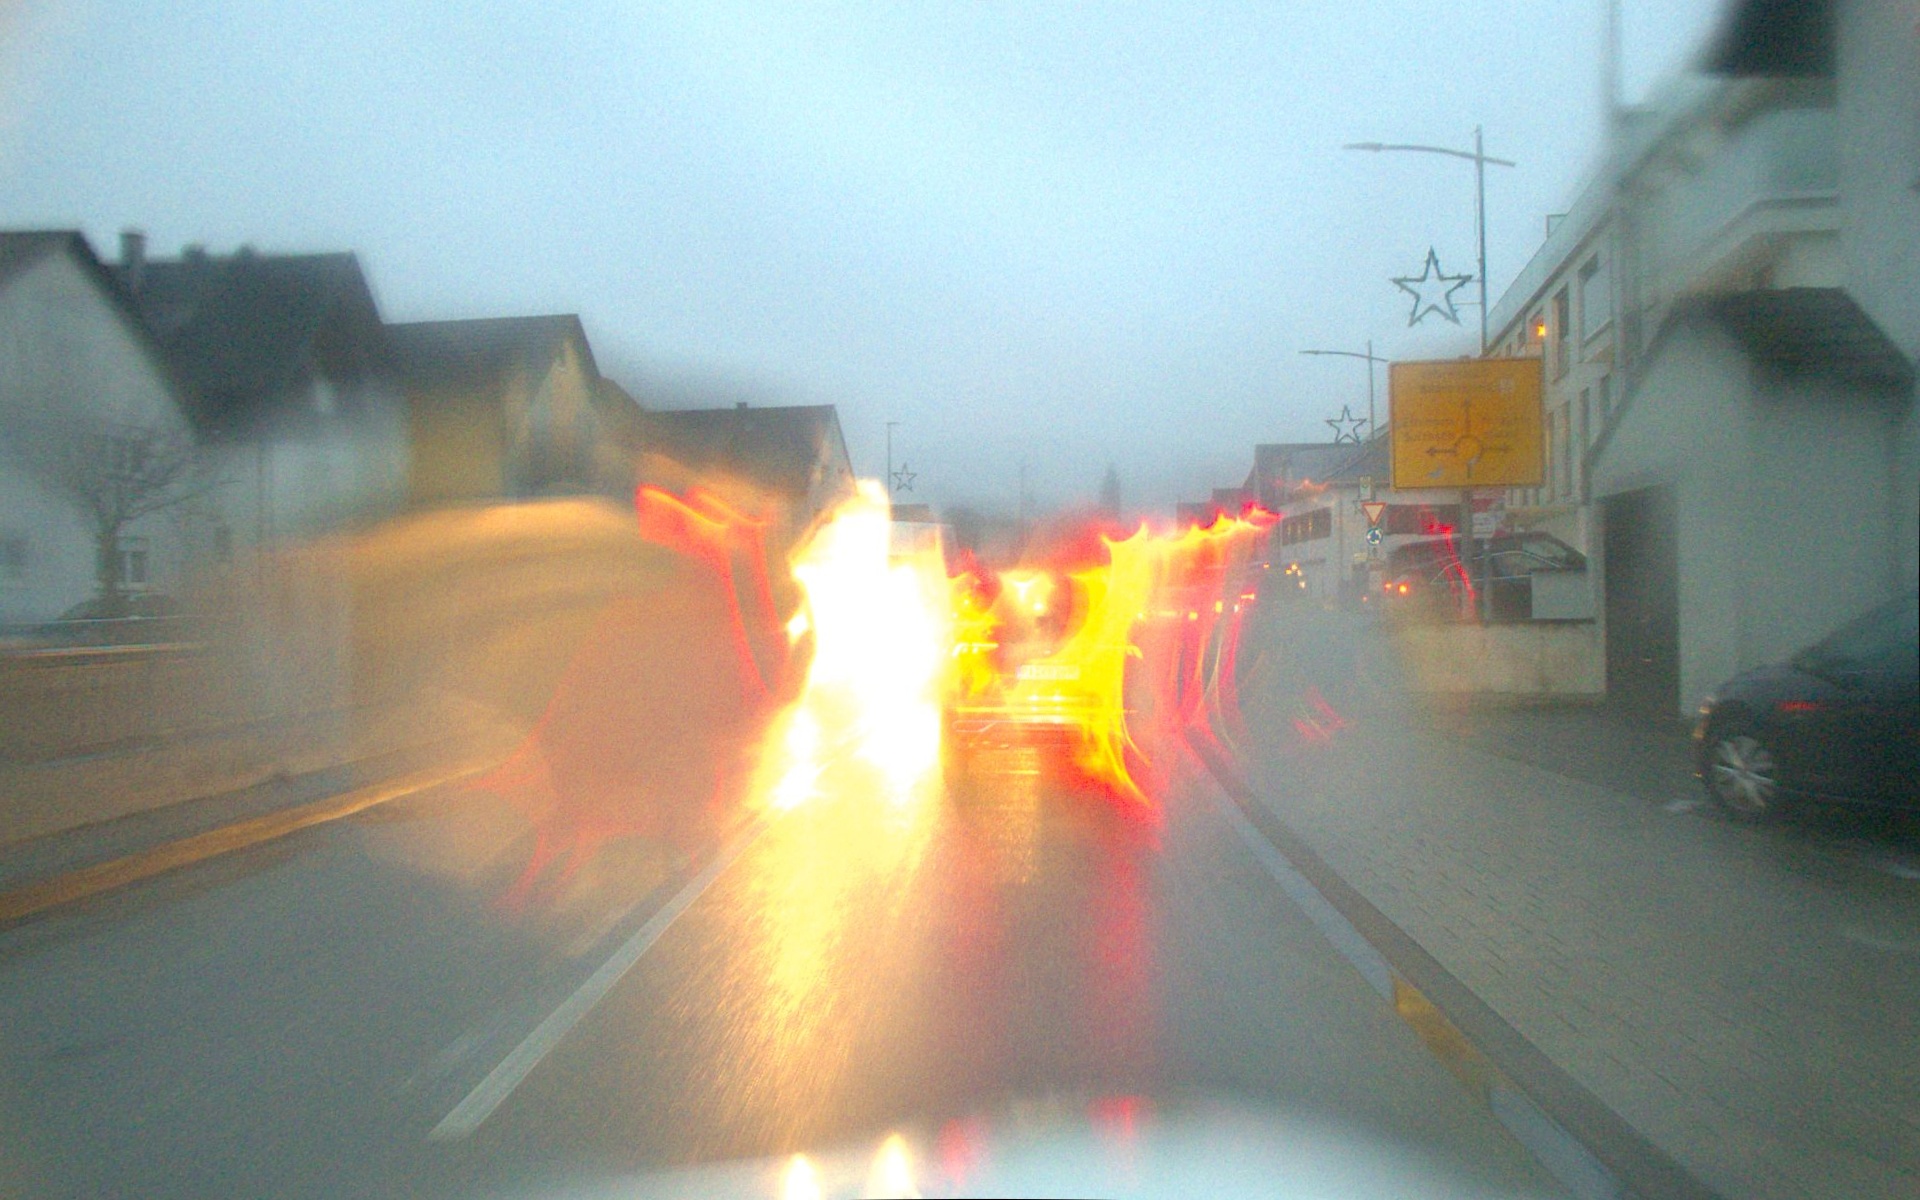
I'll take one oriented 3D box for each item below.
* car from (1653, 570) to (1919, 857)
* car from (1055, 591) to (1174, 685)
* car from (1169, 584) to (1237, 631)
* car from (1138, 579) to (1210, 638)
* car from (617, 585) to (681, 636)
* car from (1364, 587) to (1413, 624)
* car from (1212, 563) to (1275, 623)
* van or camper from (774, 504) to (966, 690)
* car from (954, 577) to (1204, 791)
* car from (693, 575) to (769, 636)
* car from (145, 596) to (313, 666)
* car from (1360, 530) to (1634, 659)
[{"bbox_3d":[5.624,0.553,8.837,1.732,1.418,3.906,-2,0,-9],"label":"car"},{"bbox_3d":[2.783,0.614,29.056,1.646,1.478,4.004,-2,0,11],"label":"car"},{"bbox_3d":[7.702,0.211,52.142,1.951,1.416,4.004,-1,1,10],"label":"car"},{"bbox_3d":[5.592,0.198,43.474,1.776,1.436,4.003,1,1,7],"label":"car"},{"bbox_3d":[-10.685,0.325,56.664,1.792,1.641,4.039,-1,1,-16],"label":"car"},{"bbox_3d":[19.239,0.229,74.197,1.533,1.437,3.601,-5,-1,23],"label":"car"},{"bbox_3d":[10.601,-0.266,62.075,2.112,2.025,4.503,-4,0,9],"label":"car"},{"bbox_3d":[-1.319,-0.072,27.666,2.193,2.715,6.560,-1,0,6],"label":"van or camper"},{"bbox_3d":[1.001,0.624,15.012,1.923,1.622,4.315,1,1,2],"label":"car"},{"bbox_3d":[-7.848,0.156,56.336,2.004,1.959,4.039,-1,1,-16],"label":"car"},{"bbox_3d":[-18.091,0.730,41.143,1.870,1.590,4.221,-1,1,7],"label":"car"},{"bbox_3d":[9.315,-0.103,28.934,4.091,1.666,1.805,-7,0,3],"label":"car"}]
